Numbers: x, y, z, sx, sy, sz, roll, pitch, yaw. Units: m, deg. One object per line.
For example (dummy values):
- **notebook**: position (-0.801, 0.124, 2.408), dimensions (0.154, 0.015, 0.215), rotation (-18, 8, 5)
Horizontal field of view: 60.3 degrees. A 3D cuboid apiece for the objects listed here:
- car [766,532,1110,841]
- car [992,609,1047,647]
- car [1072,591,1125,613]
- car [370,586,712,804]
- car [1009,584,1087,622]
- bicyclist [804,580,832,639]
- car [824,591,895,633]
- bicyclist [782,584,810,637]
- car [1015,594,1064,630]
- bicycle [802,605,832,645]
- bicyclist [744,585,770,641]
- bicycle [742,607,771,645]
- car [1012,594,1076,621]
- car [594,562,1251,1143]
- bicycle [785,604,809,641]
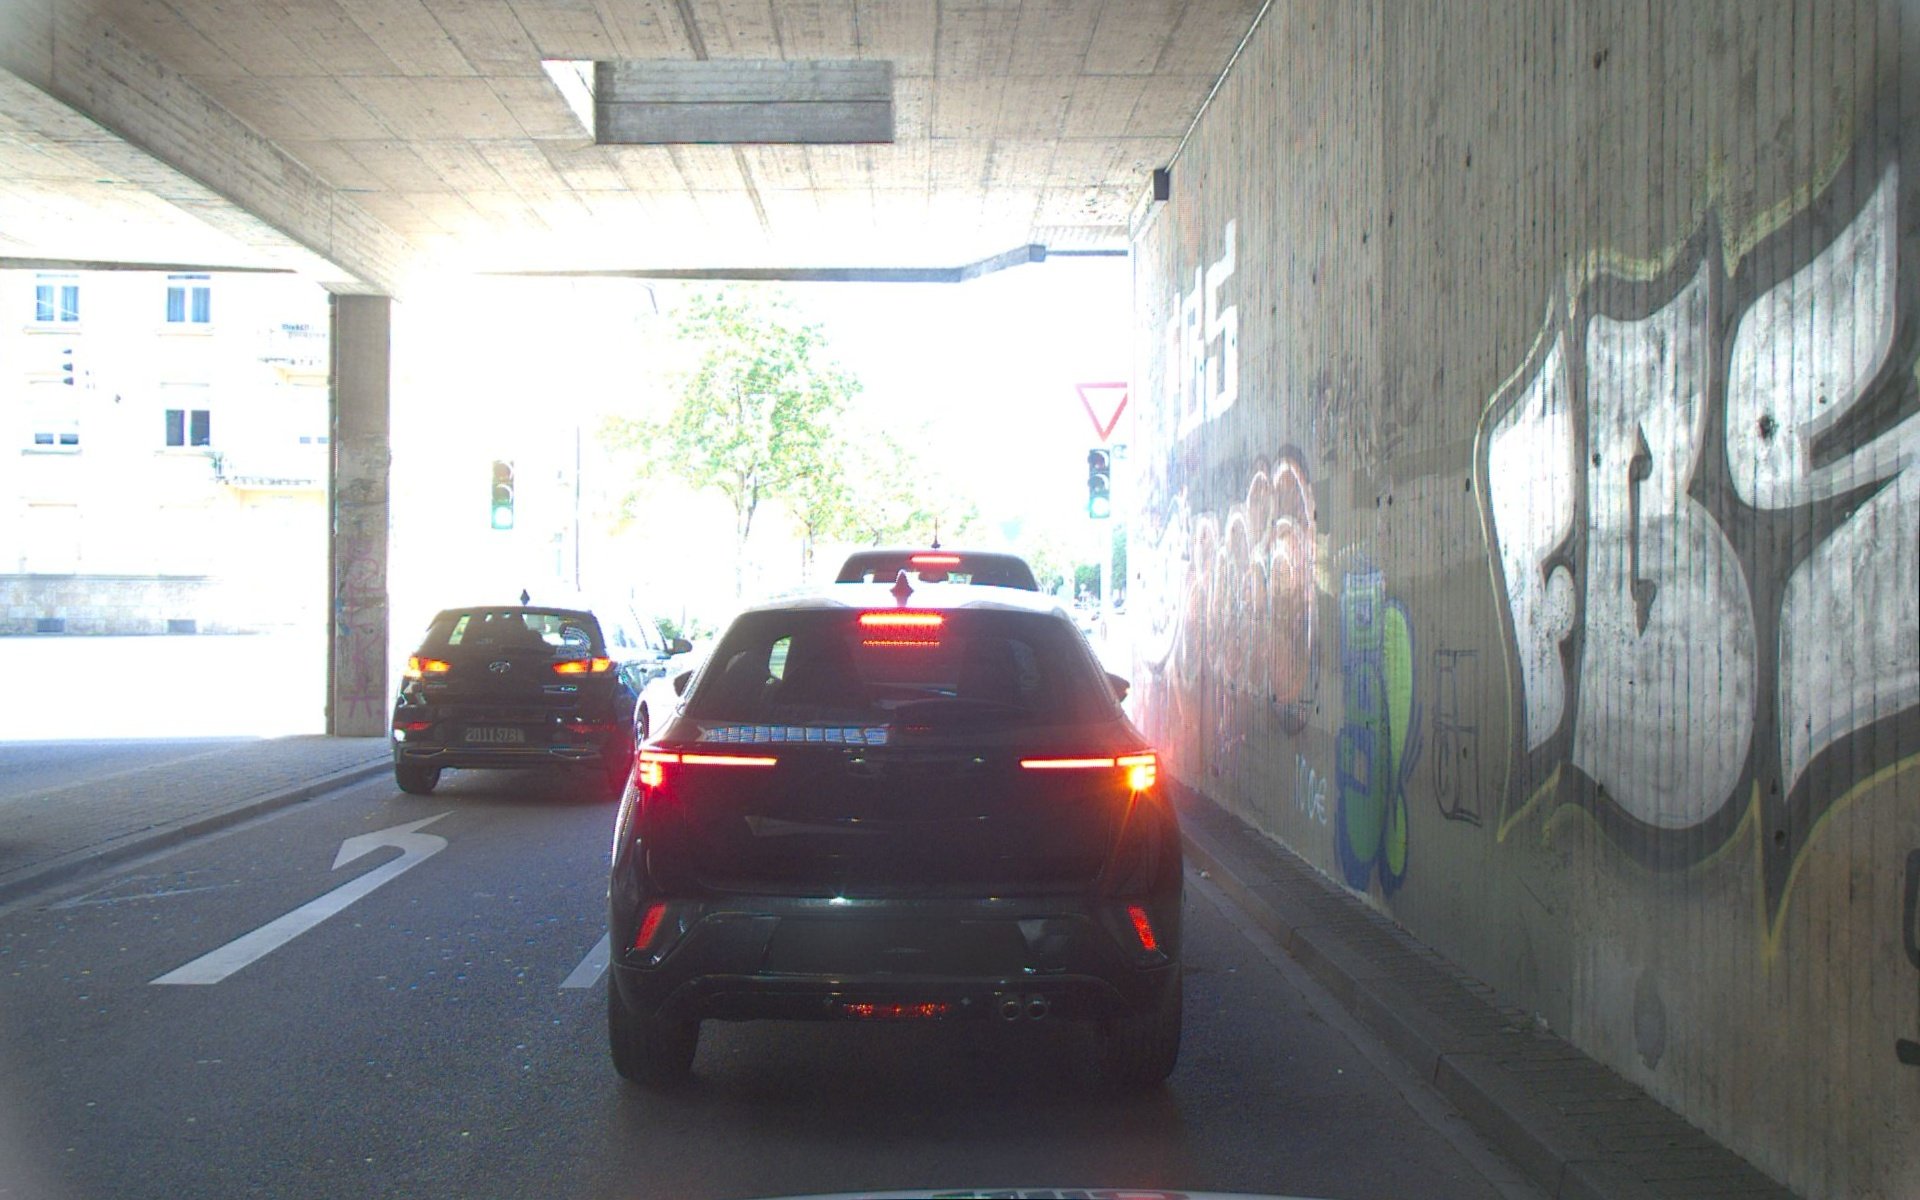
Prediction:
- **car**: position (-0.201, 0.513, 12.540), dimensions (2.090, 1.867, 4.939), rotation (0, 0, -2)
- **car**: position (2.477, 1.146, 68.305), dimensions (1.671, 1.477, 3.854), rotation (0, 0, 11)
- **car**: position (13.496, 0.180, 161.098), dimensions (4.802, 2.119, 1.978), rotation (-1, -1, -15)
- **car**: position (-3.188, 0.641, 13.486), dimensions (1.764, 1.476, 4.325), rotation (0, 0, -1)
- **car**: position (6.174, 0.210, 116.193), dimensions (5.175, 2.590, 1.977), rotation (-1, -1, -16)
- **bicyclist**: position (-4.279, 0.269, 49.851), dimensions (0.730, 1.741, 0.967), rotation (0, 2, 2)
- **car**: position (-3.567, 0.407, 59.308), dimensions (1.622, 1.466, 3.466), rotation (0, 0, 13)
- **bicyclist**: position (-5.252, 0.334, 53.005), dimensions (0.766, 1.689, 1.031), rotation (0, 0, 1)
- **car**: position (3.641, 0.519, 75.078), dimensions (1.668, 1.539, 3.866), rotation (-2, 0, 11)
- **bicycle**: position (-4.296, 0.732, 49.827), dimensions (0.683, 1.109, 1.861), rotation (0, 2, 2)
- **bicyclist**: position (-6.095, 0.376, 49.693), dimensions (0.593, 1.661, 0.910), rotation (0, 0, 4)
- **bicycle**: position (-6.095, 0.764, 49.618), dimensions (0.514, 1.109, 1.861), rotation (0, 0, 4)
- **car**: position (6.826, 0.604, 134.280), dimensions (4.822, 2.119, 1.969), rotation (0, -1, -26)
- **car**: position (-0.123, 0.672, 6.308), dimensions (1.745, 1.544, 3.755), rotation (1, 0, -1)
- **bicycle**: position (-5.215, 0.700, 52.907), dimensions (0.530, 1.142, 2.059), rotation (0, 0, 1)
